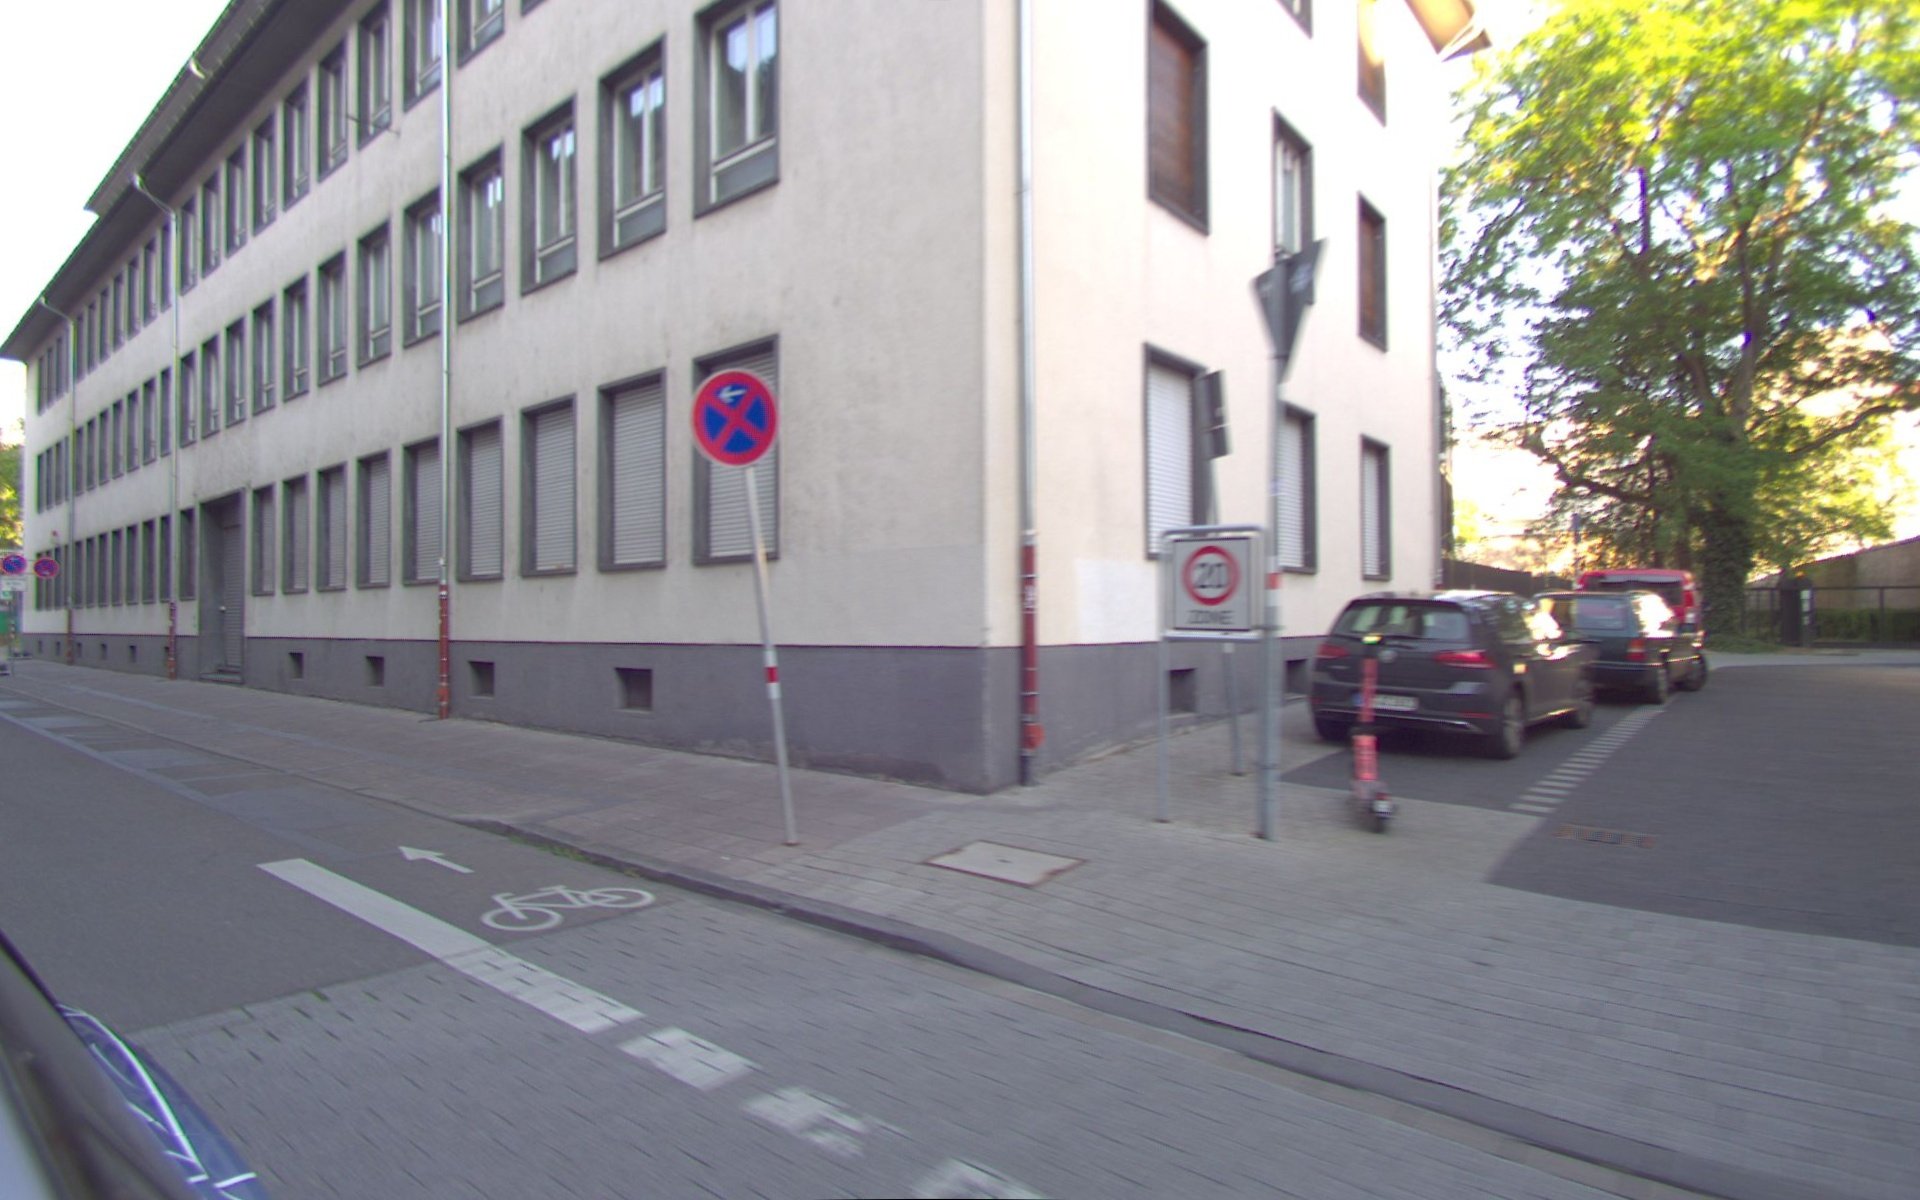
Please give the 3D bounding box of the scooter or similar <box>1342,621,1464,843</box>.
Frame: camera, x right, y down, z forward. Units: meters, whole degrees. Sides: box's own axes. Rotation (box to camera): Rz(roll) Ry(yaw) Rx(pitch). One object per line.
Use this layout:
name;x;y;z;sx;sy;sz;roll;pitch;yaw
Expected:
scooter or similar;2.837;0.782;6.580;0.528;1.209;1.359;-1;2;16

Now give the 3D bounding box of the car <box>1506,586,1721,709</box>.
car;9.220;0.543;14.129;1.729;1.451;4.206;1;1;44

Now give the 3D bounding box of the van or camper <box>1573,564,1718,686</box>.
van or camper;12.545;0.368;18.399;1.933;1.923;4.651;1;1;37

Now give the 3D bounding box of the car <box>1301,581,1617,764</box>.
car;5.089;0.583;10.063;1.728;1.451;3.914;-2;-1;43
